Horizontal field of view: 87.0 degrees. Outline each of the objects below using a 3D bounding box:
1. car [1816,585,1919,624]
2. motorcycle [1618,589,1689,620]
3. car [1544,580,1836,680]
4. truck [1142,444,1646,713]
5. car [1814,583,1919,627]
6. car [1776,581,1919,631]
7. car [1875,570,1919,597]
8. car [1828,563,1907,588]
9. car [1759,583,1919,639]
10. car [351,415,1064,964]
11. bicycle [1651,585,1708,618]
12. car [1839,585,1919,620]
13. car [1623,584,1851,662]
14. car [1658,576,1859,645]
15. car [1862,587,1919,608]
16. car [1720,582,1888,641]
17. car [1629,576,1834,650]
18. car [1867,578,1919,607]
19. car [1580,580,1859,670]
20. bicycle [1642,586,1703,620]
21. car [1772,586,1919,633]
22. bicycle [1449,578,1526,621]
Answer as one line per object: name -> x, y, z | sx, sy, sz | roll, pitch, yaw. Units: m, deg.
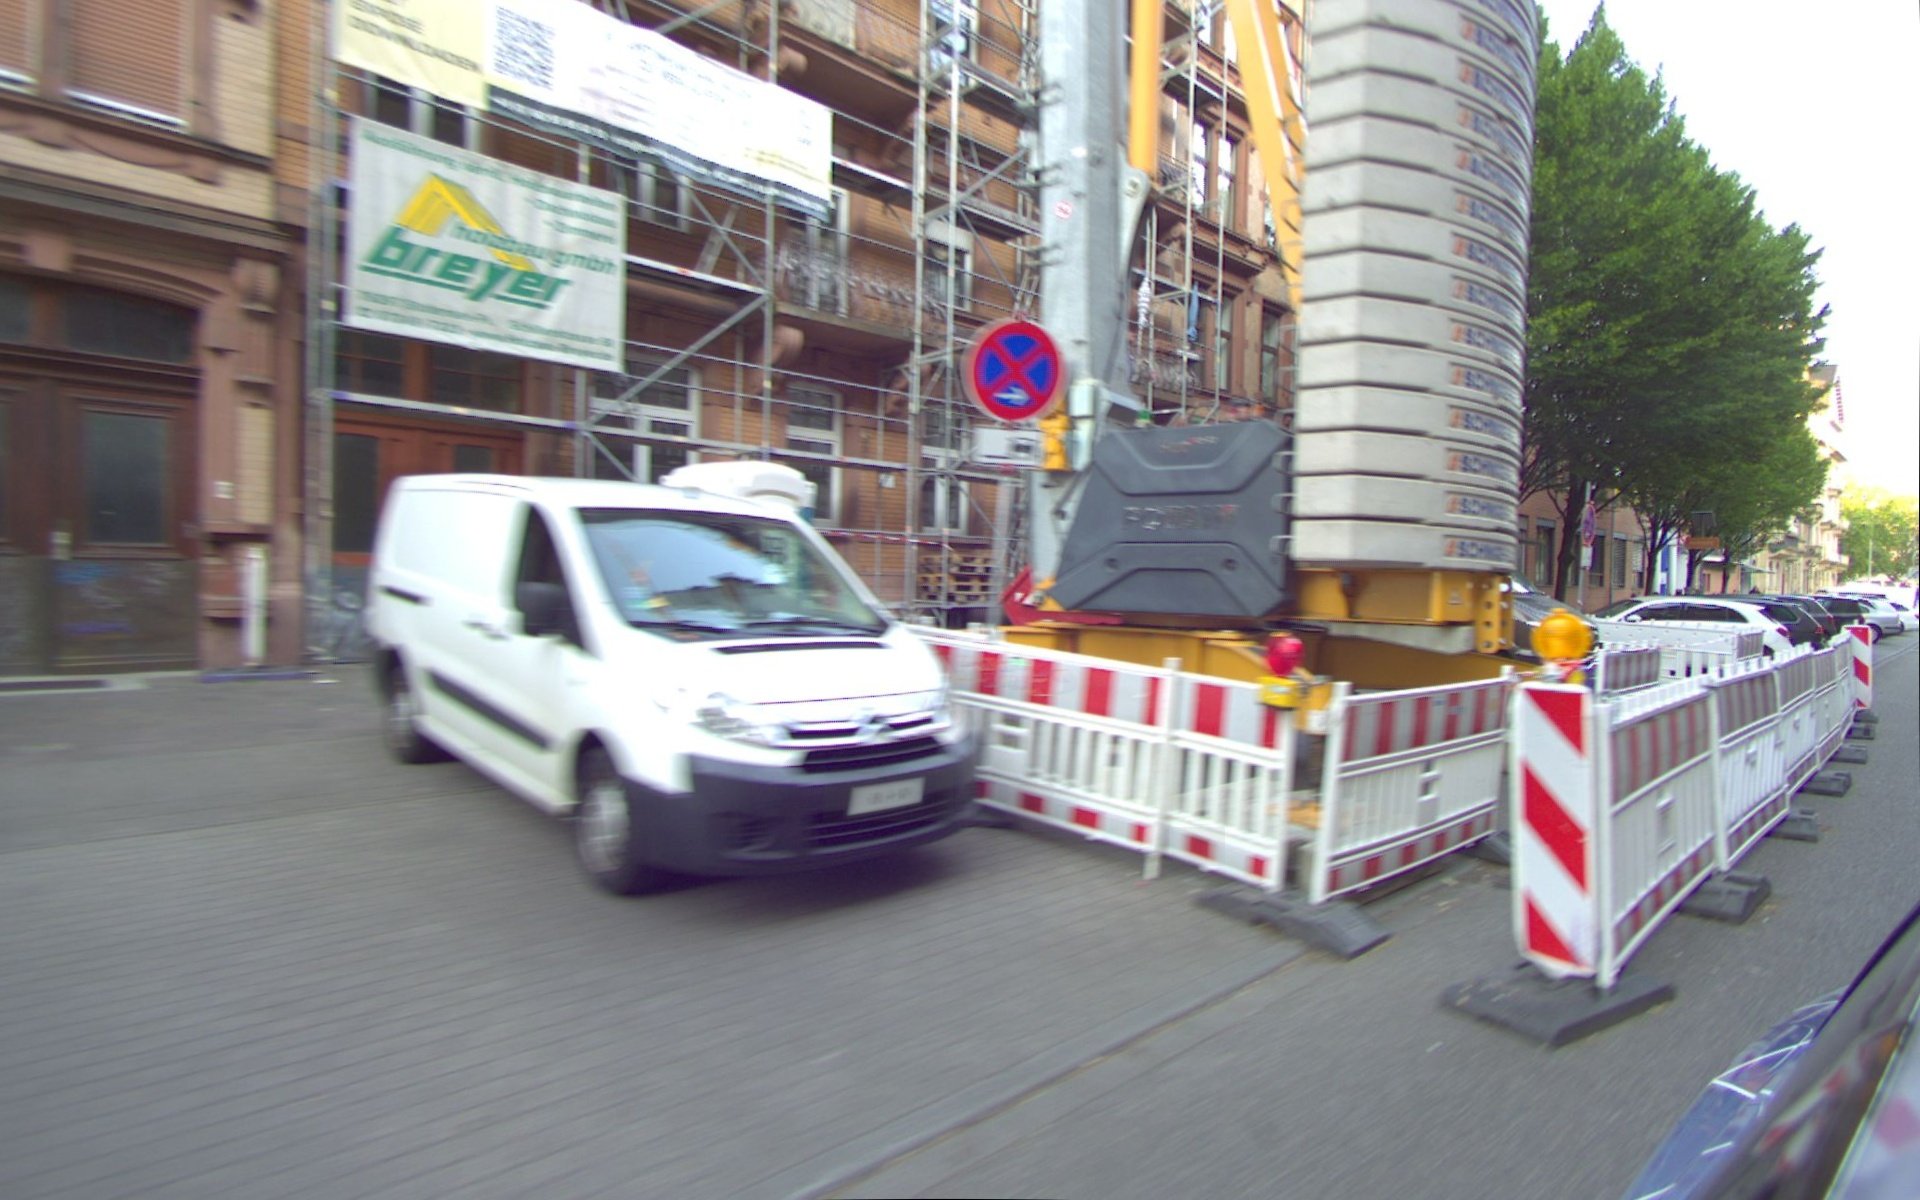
car -> 42.906, 0.206, 47.524 | 3.806, 1.536, 1.660 | 5, 4, 32
motorcycle -> 24.921, 0.141, 36.409 | 0.578, 0.937, 1.992 | 1, 4, -29
car -> 13.358, 0.487, 18.782 | 3.936, 1.506, 1.678 | 3, 2, 13
truck -> 6.023, -0.285, 15.040 | 2.479, 3.115, 6.494 | -1, 1, -39
car -> 37.904, 0.216, 41.636 | 3.780, 1.537, 1.671 | 3, 4, 15
car -> 35.067, 0.190, 40.120 | 3.788, 1.668, 1.668 | 4, 4, 20
car -> 89.697, -1.527, 95.744 | 4.129, 2.285, 1.673 | 3, 3, 12
car -> 64.859, -1.748, 72.392 | 3.786, 1.537, 1.668 | 4, 4, 19
car -> 29.830, 0.337, 34.341 | 3.784, 1.584, 1.669 | 4, 4, 18
car -> -1.983, 0.163, 6.173 | 1.867, 1.979, 5.181 | 1, 3, -43
bicycle -> 28.839, 0.047, 40.572 | 1.763, 1.113, 0.538 | 7, 5, 40
car -> 46.717, 0.133, 50.652 | 3.806, 1.536, 1.660 | 5, 4, 32
car -> 17.483, 0.466, 22.970 | 3.581, 1.438, 1.823 | 3, 2, 16
car -> 21.116, 0.238, 26.922 | 3.746, 1.536, 1.643 | 3, 2, 15
car -> 81.306, -0.241, 88.060 | 3.776, 1.537, 1.673 | 3, 3, 12
car -> 27.409, 0.328, 33.039 | 3.797, 1.584, 1.664 | 4, 4, 26
car -> 18.869, 0.278, 24.924 | 3.587, 1.536, 1.615 | 4, 2, 20
car -> 83.706, -0.677, 89.992 | 4.123, 2.320, 1.675 | 3, 3, 8
car -> 15.455, 0.457, 20.839 | 4.105, 1.506, 1.826 | 3, 2, 11
bicycle -> 26.929, 0.111, 38.283 | 1.763, 1.113, 0.538 | 7, 5, 40
car -> 33.285, 0.332, 38.091 | 3.784, 1.447, 1.669 | 4, 4, 18
bicycle -> 16.284, -0.023, 31.263 | 2.006, 1.179, 0.574 | 5, 3, 30
